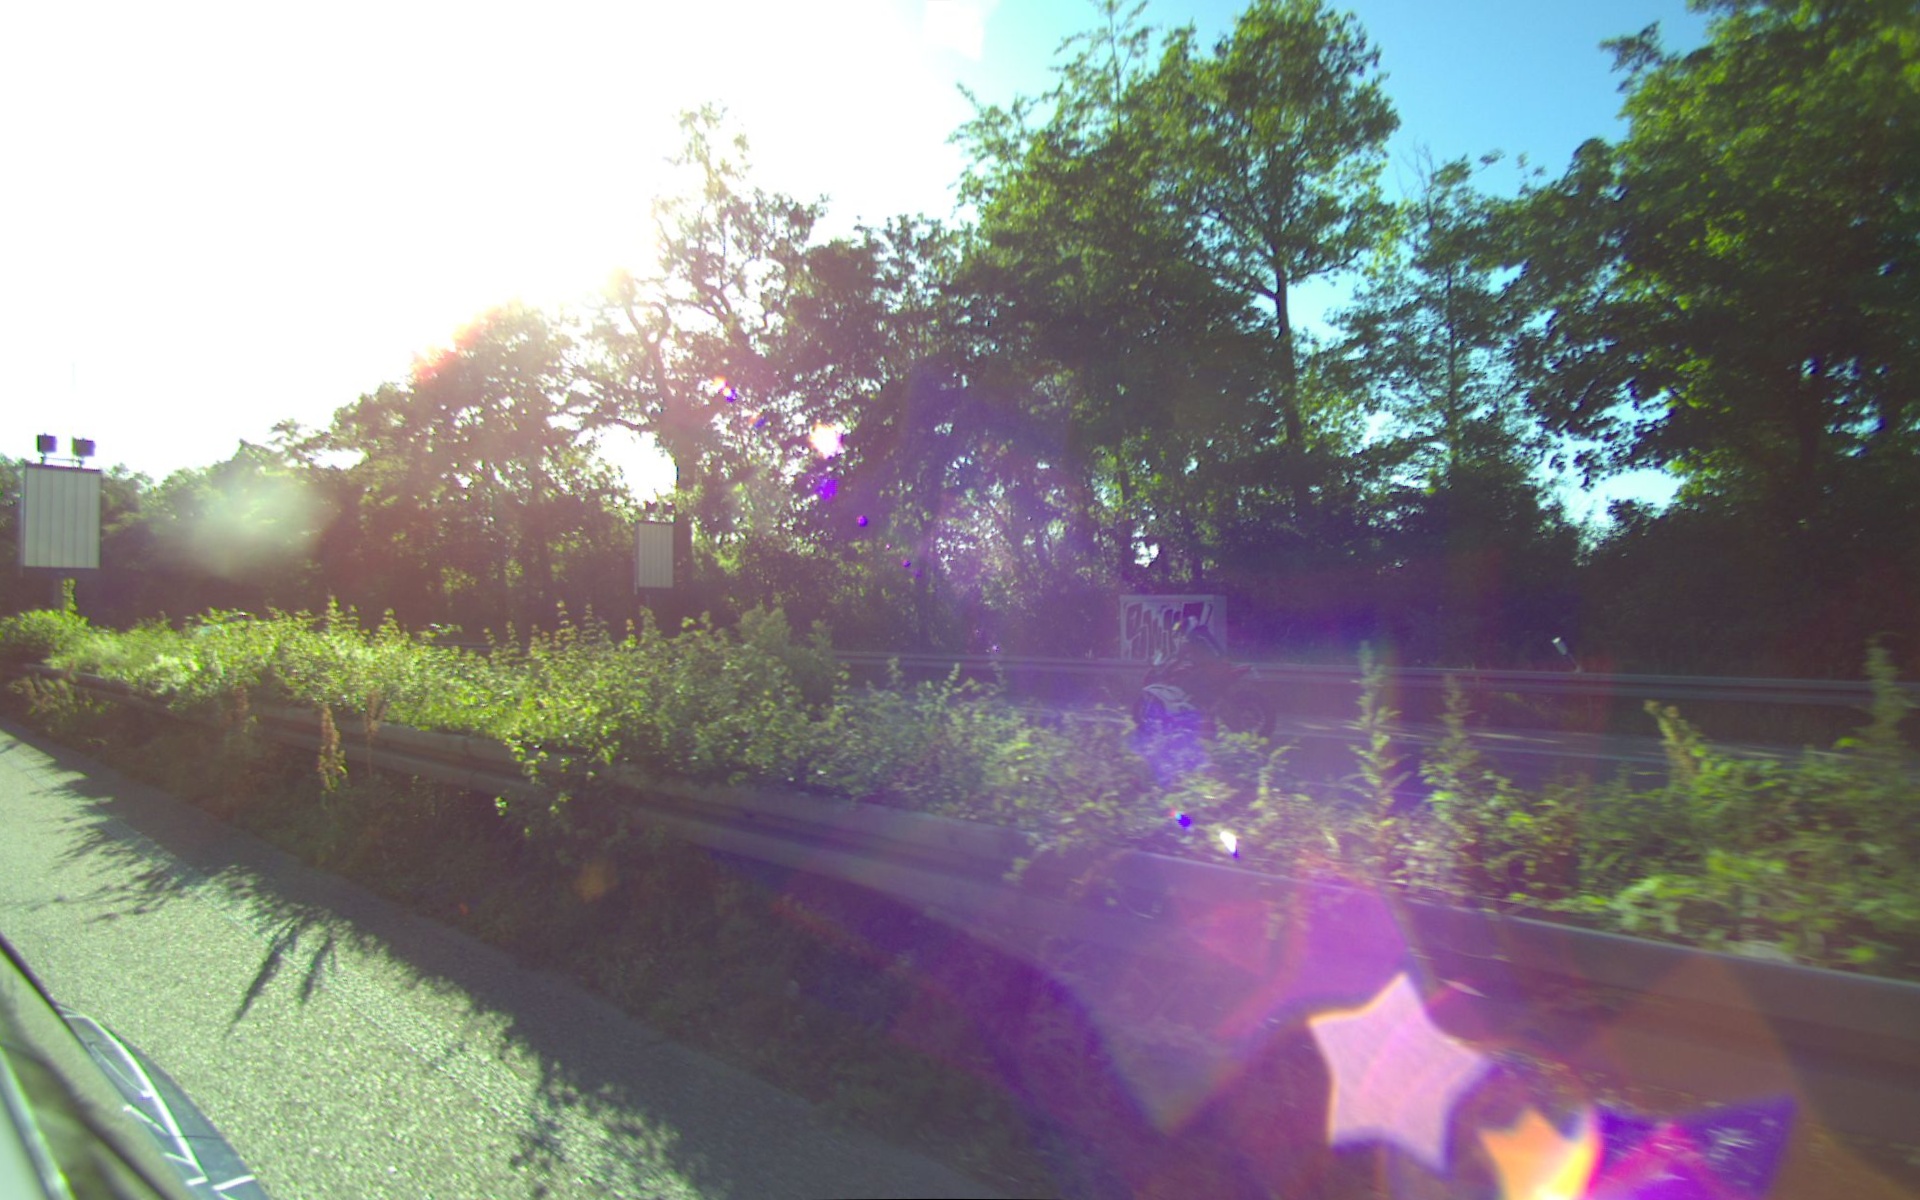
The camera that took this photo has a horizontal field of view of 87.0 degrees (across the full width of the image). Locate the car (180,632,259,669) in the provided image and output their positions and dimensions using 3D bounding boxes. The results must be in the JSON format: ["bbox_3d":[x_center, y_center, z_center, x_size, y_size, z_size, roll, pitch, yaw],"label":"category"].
[{"bbox_3d":[-31.006,2.079,42.329,4.128,1.435,1.692,-2,-1,39],"label":"car"}]
